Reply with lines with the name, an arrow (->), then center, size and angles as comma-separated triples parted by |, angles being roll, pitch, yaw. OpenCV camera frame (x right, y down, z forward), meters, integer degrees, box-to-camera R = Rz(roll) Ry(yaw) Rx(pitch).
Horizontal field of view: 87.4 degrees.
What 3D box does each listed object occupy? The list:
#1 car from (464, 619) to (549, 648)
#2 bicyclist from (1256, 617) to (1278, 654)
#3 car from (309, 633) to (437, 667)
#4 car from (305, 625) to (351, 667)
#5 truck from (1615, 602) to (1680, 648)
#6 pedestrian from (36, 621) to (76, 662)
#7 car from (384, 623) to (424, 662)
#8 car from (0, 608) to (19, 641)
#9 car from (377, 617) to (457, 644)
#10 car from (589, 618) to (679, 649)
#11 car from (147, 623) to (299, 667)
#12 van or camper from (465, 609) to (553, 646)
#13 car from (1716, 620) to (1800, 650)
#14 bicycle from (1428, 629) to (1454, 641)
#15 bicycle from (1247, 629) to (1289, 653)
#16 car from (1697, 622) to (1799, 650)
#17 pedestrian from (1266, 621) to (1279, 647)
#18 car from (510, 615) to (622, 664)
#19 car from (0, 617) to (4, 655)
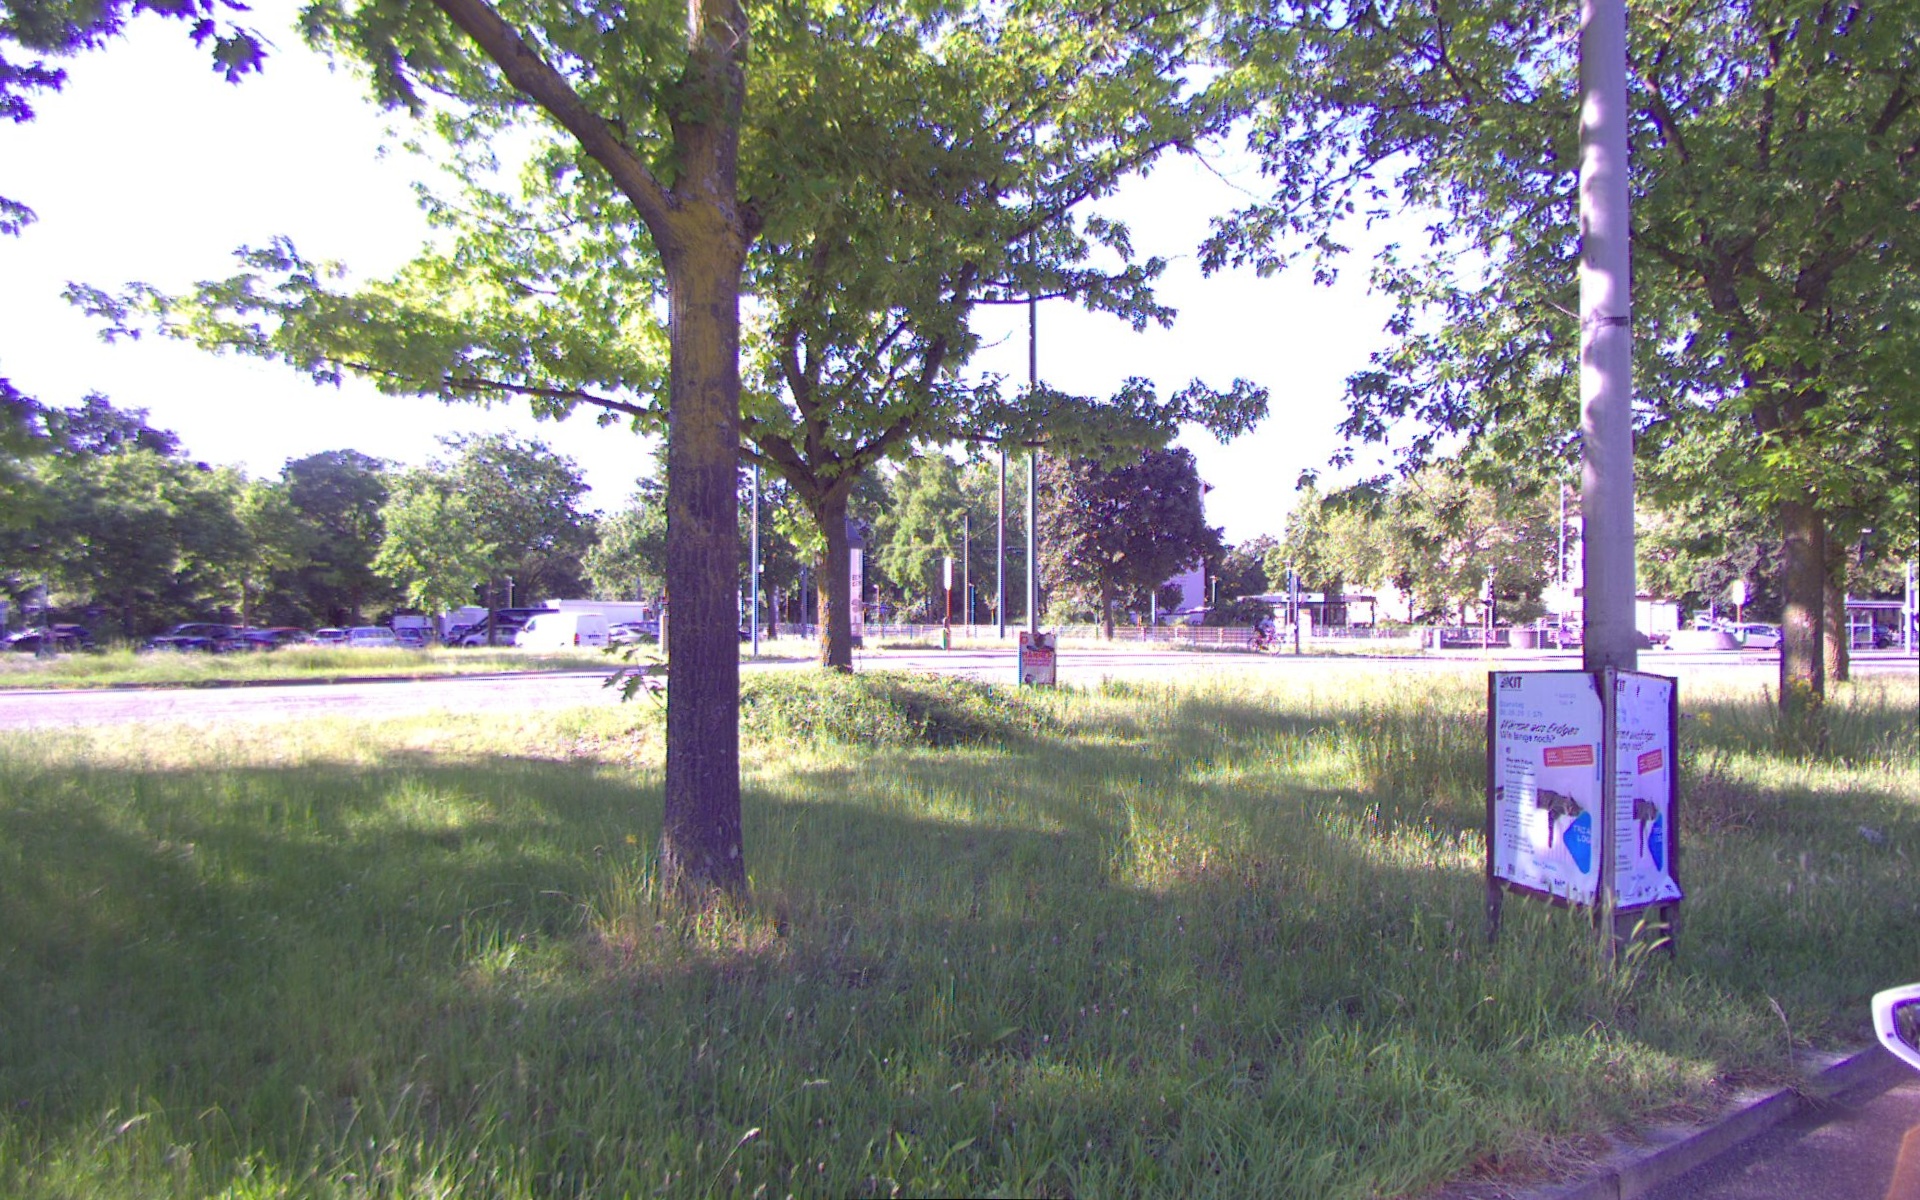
car -> -25.114, 1.838, 55.757 | 3.932, 1.493, 1.963 | 0, 2, -14
bicyclist -> 13.223, 1.532, 43.269 | 0.664, 1.551, 0.612 | -1, 1, -12
car -> -21.867, 1.836, 37.463 | 3.962, 1.143, 1.803 | 1, -1, -37
car -> -29.581, 2.112, 47.102 | 1.635, 1.628, 3.854 | 1, 2, -30
truck -> 46.781, 1.680, 68.484 | 1.959, 3.035, 4.831 | 0, 0, 13
pedestrian -> -32.687, 1.488, 36.316 | 0.863, 1.437, 0.994 | 1, -1, -30
car -> -27.161, 2.039, 49.152 | 1.634, 1.628, 3.856 | 1, 2, -29
car -> -54.979, 1.338, 55.513 | 4.097, 1.824, 1.980 | 1, -1, -36
car -> -31.838, 1.763, 59.012 | 3.943, 1.530, 1.989 | 1, -1, -23
car -> -15.007, 1.514, 46.169 | 3.934, 1.299, 1.994 | 0, -1, 35
car -> -26.049, 1.579, 35.637 | 3.929, 1.467, 1.819 | 0, -1, -11
van or camper -> -25.992, 1.584, 58.073 | 4.326, 2.124, 1.995 | 0, -1, -14
car -> 50.373, 2.175, 63.429 | 3.922, 1.741, 1.763 | 0, 2, -3
bicycle -> 34.590, 2.513, 72.276 | 1.652, 0.850, 0.548 | 0, -1, 18
bicycle -> 13.259, 1.773, 43.288 | 1.629, 1.014, 0.613 | 0, -1, -12
car -> 47.967, 2.173, 61.217 | 4.457, 1.565, 1.873 | 0, 2, 14
pedestrian -> 22.566, 2.485, 72.603 | 0.714, 1.853, 0.559 | 1, -1, -9
car -> -17.231, 1.677, 43.832 | 4.917, 2.040, 2.232 | 0, -1, 35
car -> -39.301, 1.352, 37.728 | 1.964, 1.483, 4.548 | 2, 0, 30
